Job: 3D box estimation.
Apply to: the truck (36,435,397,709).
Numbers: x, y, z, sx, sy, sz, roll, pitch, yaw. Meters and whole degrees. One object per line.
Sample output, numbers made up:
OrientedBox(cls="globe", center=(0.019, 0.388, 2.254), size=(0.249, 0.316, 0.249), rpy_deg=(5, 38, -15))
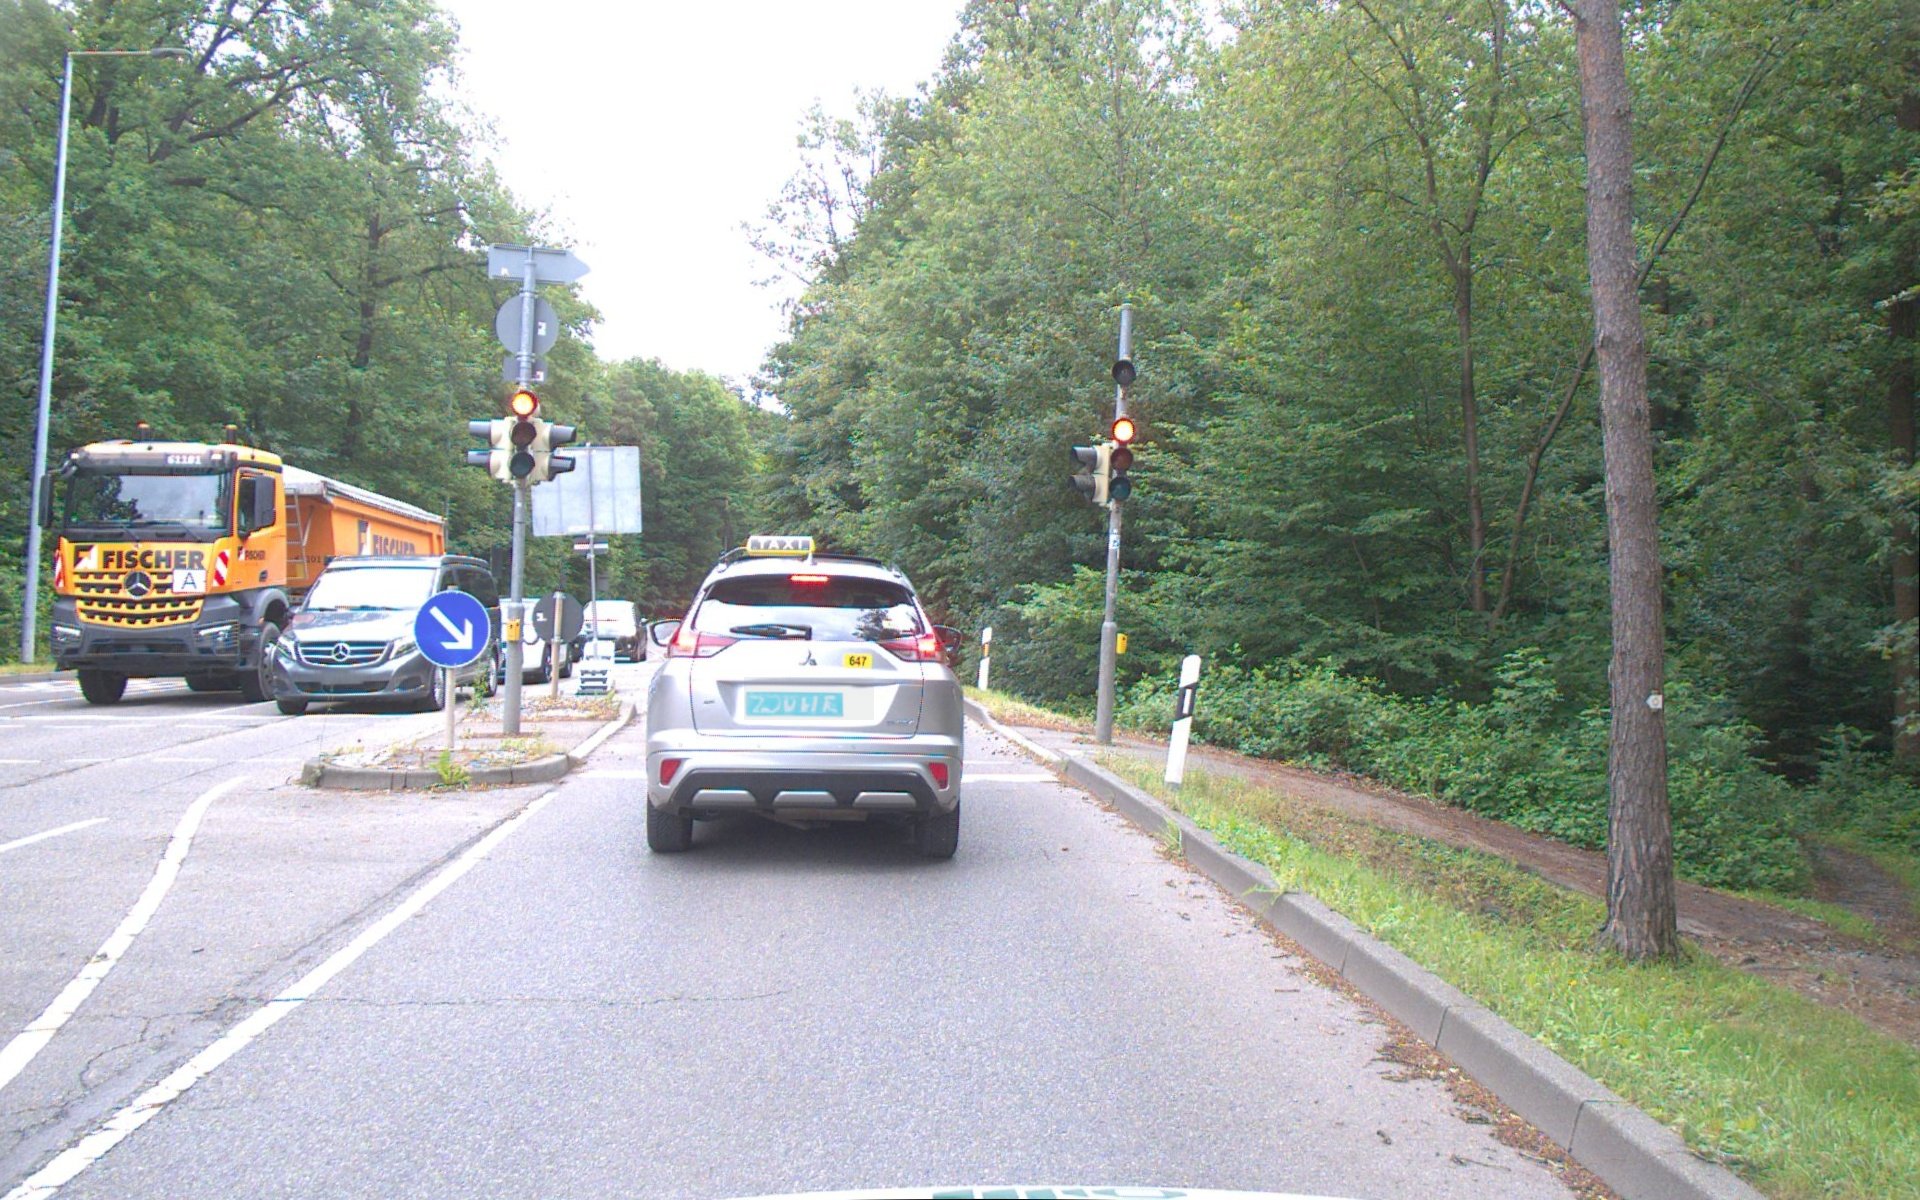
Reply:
OrientedBox(cls="truck", center=(-10.403, -0.301, 24.055), size=(2.686, 3.376, 7.149), rpy_deg=(0, -1, -6))

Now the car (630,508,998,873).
OrientedBox(cls="car", center=(-0.932, 0.448, 10.453), size=(1.811, 1.811, 3.995), rpy_deg=(2, 0, -6))

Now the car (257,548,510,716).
OrientedBox(cls="car", center=(-7.308, 0.379, 21.520), size=(1.955, 1.927, 4.834), rpy_deg=(0, 0, -5))

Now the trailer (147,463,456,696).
OrientedBox(cls="trailer", center=(-10.866, -0.247, 28.329), size=(2.686, 3.376, 8.557), rpy_deg=(0, -1, -6))

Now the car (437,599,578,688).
OrientedBox(cls="car", center=(-7.736, 0.699, 28.576), size=(1.580, 1.344, 3.719), rpy_deg=(-1, 1, -4))

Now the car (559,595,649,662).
OrientedBox(cls="car", center=(-8.802, 0.690, 41.098), size=(1.777, 1.534, 3.716), rpy_deg=(-1, 0, -6))
